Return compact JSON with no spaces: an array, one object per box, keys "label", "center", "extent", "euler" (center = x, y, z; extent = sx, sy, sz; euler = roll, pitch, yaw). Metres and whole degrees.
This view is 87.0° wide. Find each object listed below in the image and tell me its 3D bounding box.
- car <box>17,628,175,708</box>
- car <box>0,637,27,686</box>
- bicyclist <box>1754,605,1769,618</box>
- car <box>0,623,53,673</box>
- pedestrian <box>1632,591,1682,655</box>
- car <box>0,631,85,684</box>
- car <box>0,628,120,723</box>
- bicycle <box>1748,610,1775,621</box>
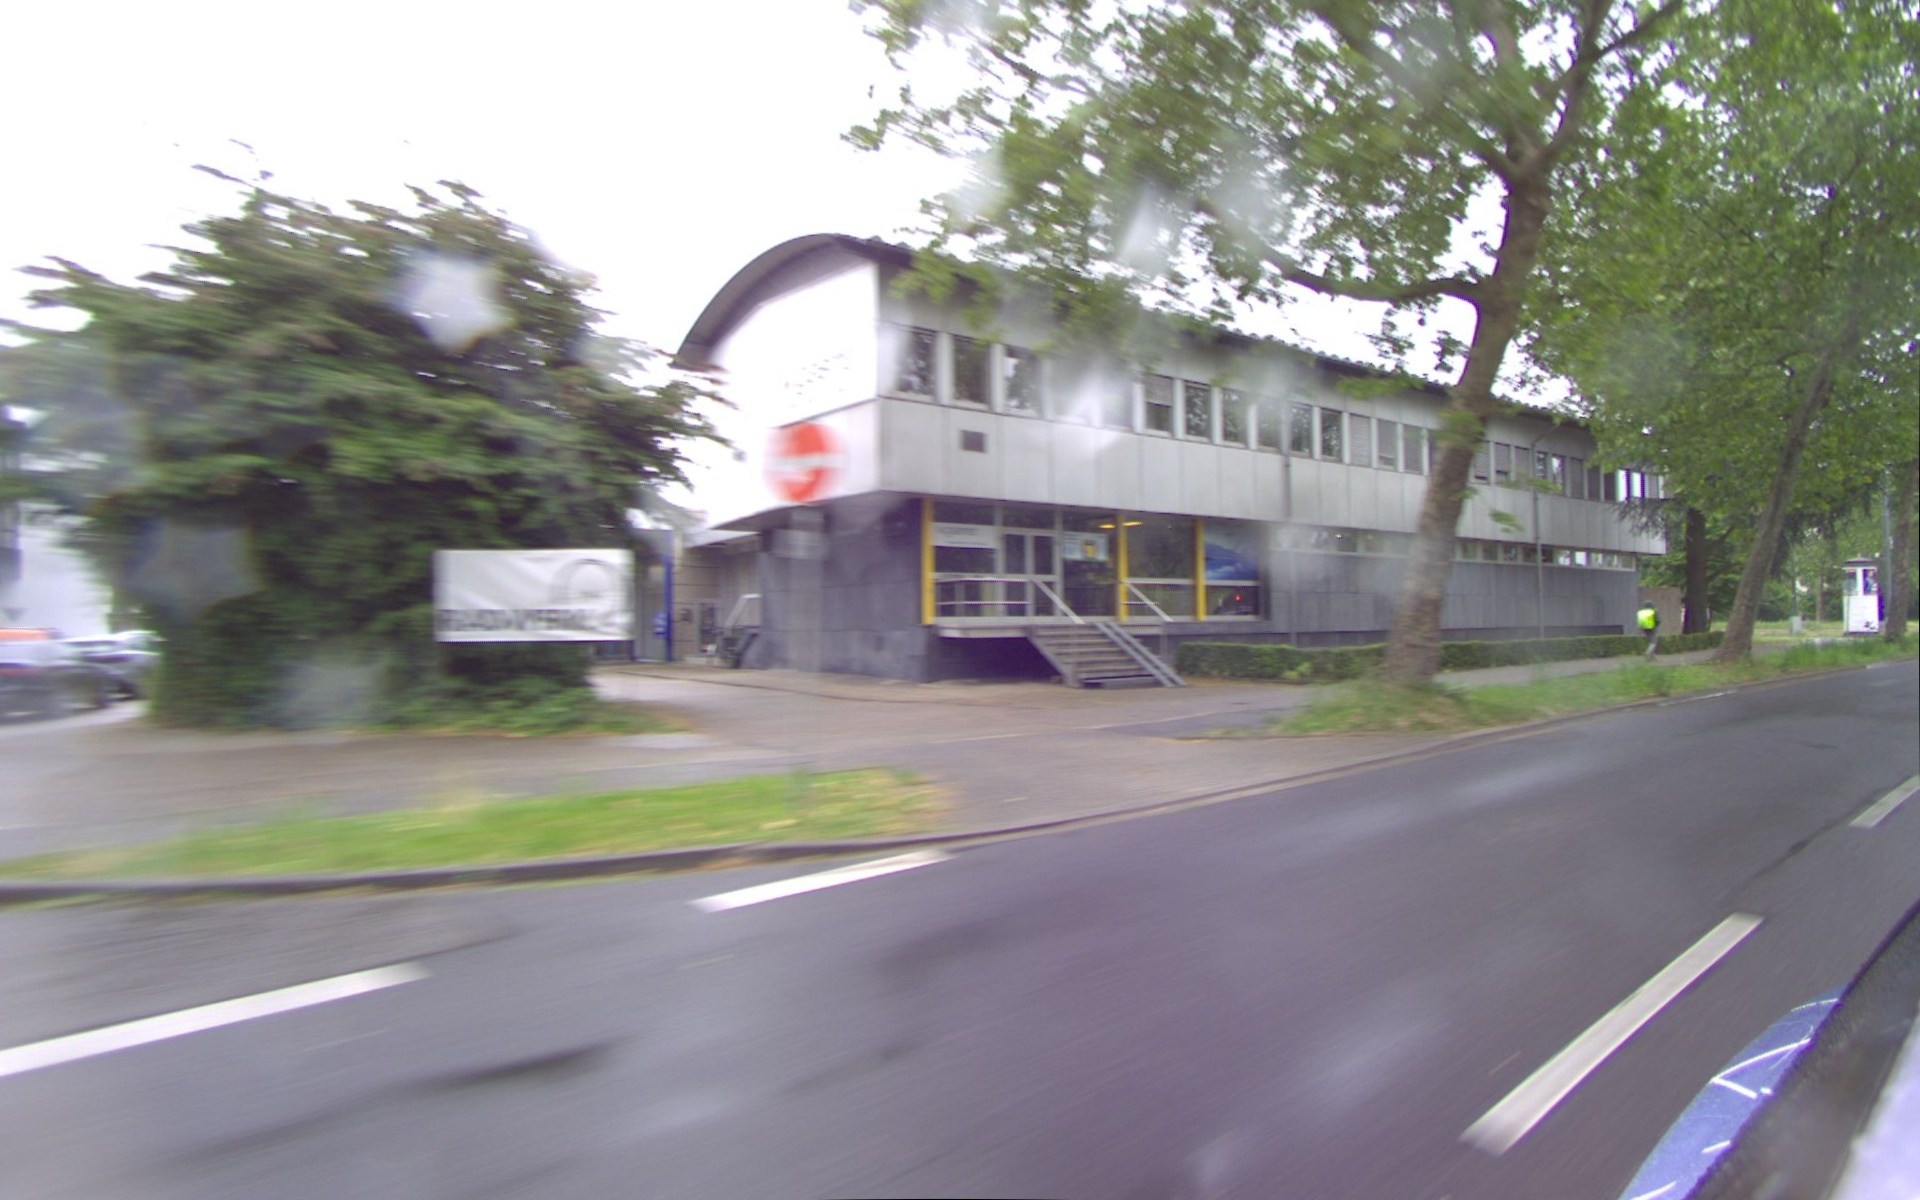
[{"label":"car","center":[-20.201,1.508,23.880],"extent":[1.856,1.549,4.310],"euler":[-4,1,-28]},{"label":"car","center":[-33.107,1.985,32.198],"extent":[4.633,1.550,1.896],"euler":[0,-1,-27]},{"label":"bicyclist","center":[72.450,1.068,91.481],"extent":[0.669,1.159,0.745],"euler":[-1,-1,-9]},{"label":"car","center":[-34.075,1.635,34.255],"extent":[4.633,1.683,1.896],"euler":[0,-1,-27]},{"label":"pedestrian","center":[19.227,0.634,27.917],"extent":[0.882,1.717,0.833],"euler":[0,-2,-32]},{"label":"car","center":[-35.102,2.094,36.781],"extent":[4.633,1.869,1.896],"euler":[0,-1,-27]},{"label":"car","center":[-17.212,1.360,18.498],"extent":[1.856,1.526,4.310],"euler":[-4,0,-27]},{"label":"bicycle","center":[72.459,1.400,91.513],"extent":[0.669,0.896,1.868],"euler":[-1,-1,-9]}]
